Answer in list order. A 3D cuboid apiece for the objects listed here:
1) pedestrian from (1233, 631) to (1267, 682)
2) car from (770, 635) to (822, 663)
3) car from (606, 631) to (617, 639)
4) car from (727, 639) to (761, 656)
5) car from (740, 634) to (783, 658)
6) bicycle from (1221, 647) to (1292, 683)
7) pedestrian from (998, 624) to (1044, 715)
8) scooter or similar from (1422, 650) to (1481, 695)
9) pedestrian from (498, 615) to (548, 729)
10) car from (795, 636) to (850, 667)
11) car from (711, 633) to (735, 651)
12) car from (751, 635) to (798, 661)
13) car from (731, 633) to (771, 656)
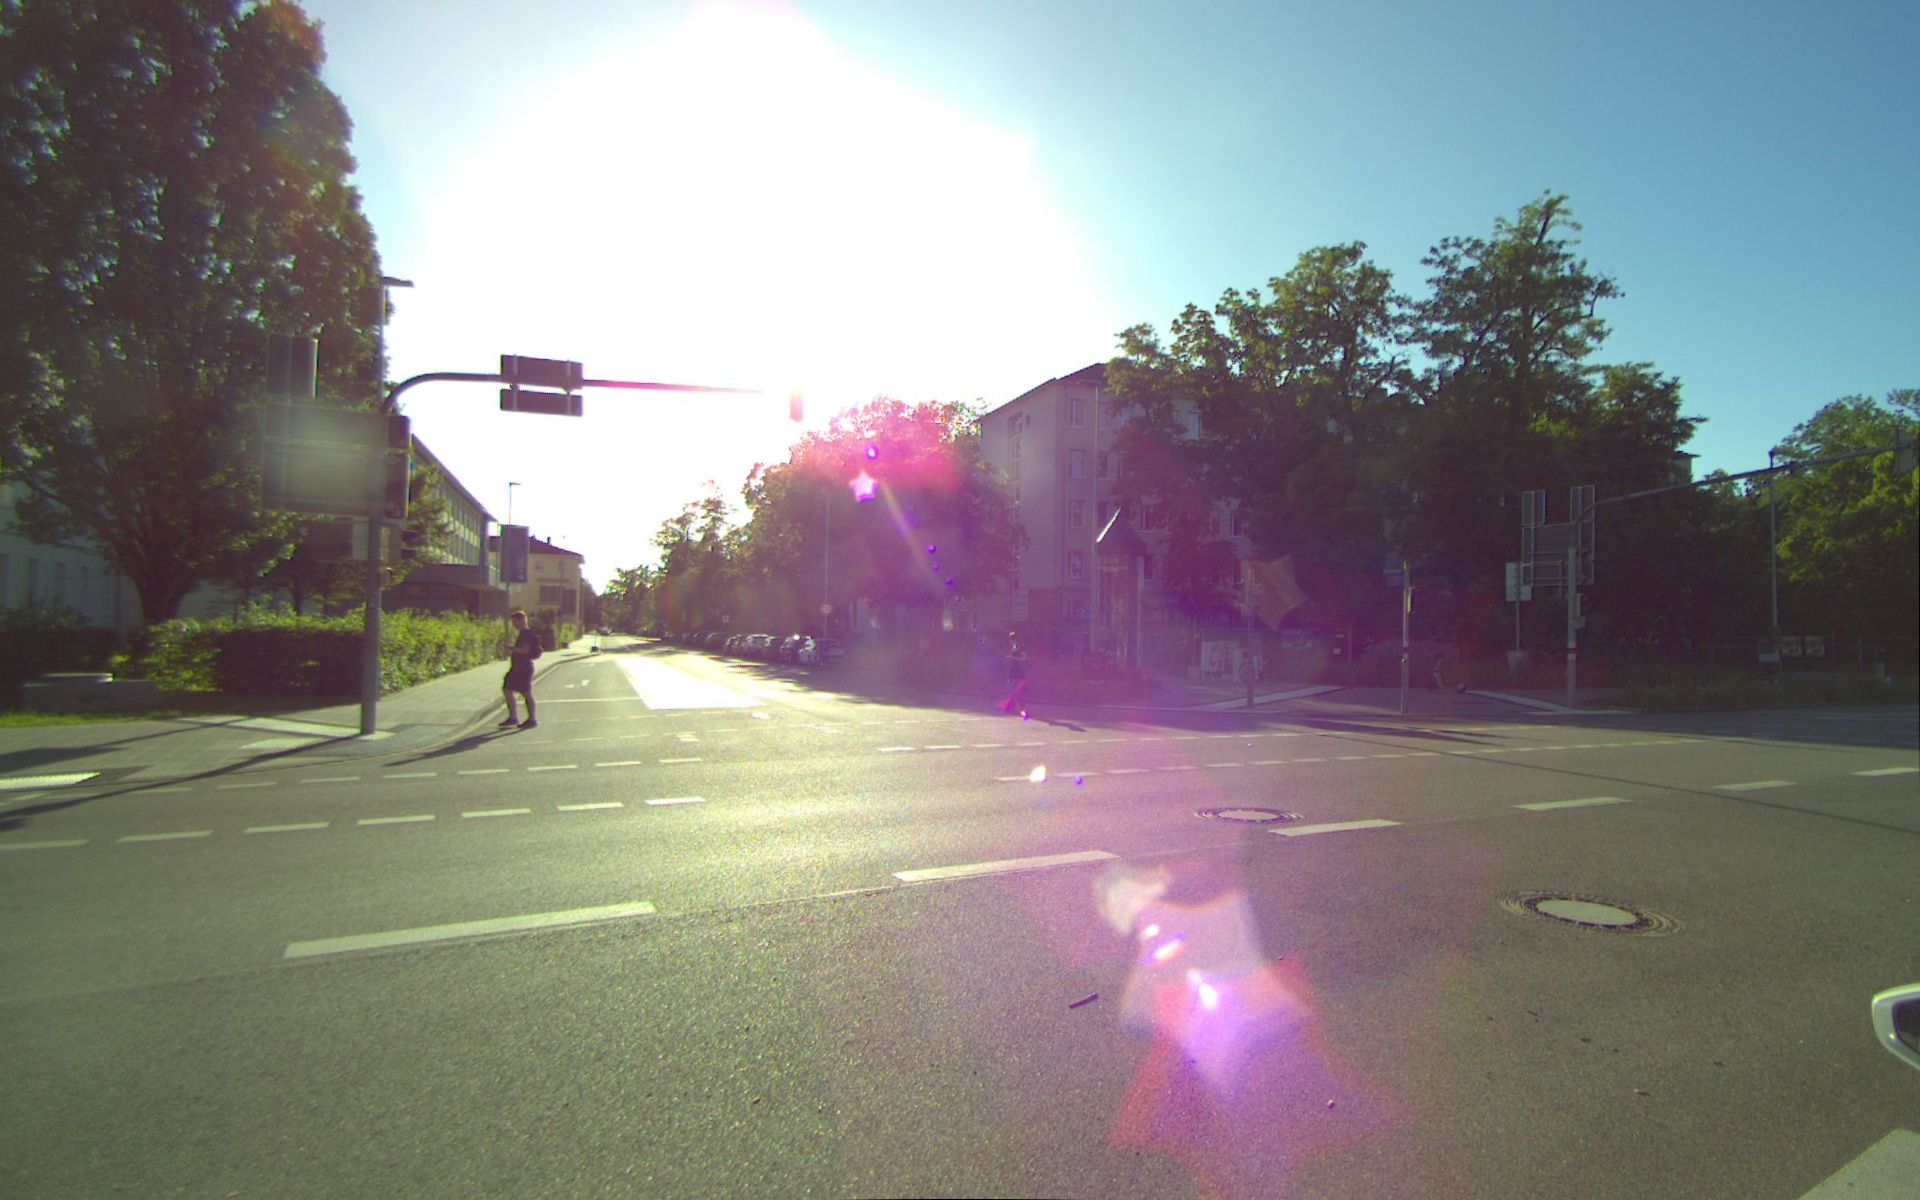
[{"bbox_3d":[9.951,1.936,34.504,0.634,1.718,0.974,2,-2,-24],"label":"pedestrian"},{"bbox_3d":[-9.599,2.836,58.580,2.204,1.559,4.239,2,-2,-21],"label":"car"},{"bbox_3d":[-77.438,7.697,223.262,1.973,1.705,3.977,2,-2,-24],"label":"car"},{"bbox_3d":[-16.556,3.610,76.924,1.970,1.257,3.982,2,-2,-20],"label":"car"},{"bbox_3d":[-13.448,3.074,67.924,2.204,1.559,4.239,2,-2,-21],"label":"car"},{"bbox_3d":[10.265,2.239,34.883,0.966,1.150,2.564,2,-2,-24],"label":"bicycle"},{"bbox_3d":[1.267,1.434,20.968,0.715,1.840,0.742,1,-2,-20],"label":"pedestrian"},{"bbox_3d":[14.885,2.186,30.445,1.466,1.311,0.696,1,-2,0],"label":"scooter or similar"},{"bbox_3d":[-7.230,1.182,16.656,0.670,1.840,0.689,1,-2,-20],"label":"pedestrian"},{"bbox_3d":[-7.368,2.715,53.481,2.038,1.559,4.239,2,-2,-21],"label":"car"},{"bbox_3d":[-21.874,3.891,92.687,1.783,1.607,3.983,1,-2,-19],"label":"car"},{"bbox_3d":[-11.729,2.978,63.212,2.204,1.559,4.239,2,-2,-21],"label":"car"},{"bbox_3d":[-15.178,3.189,72.651,2.204,1.559,4.239,2,-2,-21],"label":"car"}]
